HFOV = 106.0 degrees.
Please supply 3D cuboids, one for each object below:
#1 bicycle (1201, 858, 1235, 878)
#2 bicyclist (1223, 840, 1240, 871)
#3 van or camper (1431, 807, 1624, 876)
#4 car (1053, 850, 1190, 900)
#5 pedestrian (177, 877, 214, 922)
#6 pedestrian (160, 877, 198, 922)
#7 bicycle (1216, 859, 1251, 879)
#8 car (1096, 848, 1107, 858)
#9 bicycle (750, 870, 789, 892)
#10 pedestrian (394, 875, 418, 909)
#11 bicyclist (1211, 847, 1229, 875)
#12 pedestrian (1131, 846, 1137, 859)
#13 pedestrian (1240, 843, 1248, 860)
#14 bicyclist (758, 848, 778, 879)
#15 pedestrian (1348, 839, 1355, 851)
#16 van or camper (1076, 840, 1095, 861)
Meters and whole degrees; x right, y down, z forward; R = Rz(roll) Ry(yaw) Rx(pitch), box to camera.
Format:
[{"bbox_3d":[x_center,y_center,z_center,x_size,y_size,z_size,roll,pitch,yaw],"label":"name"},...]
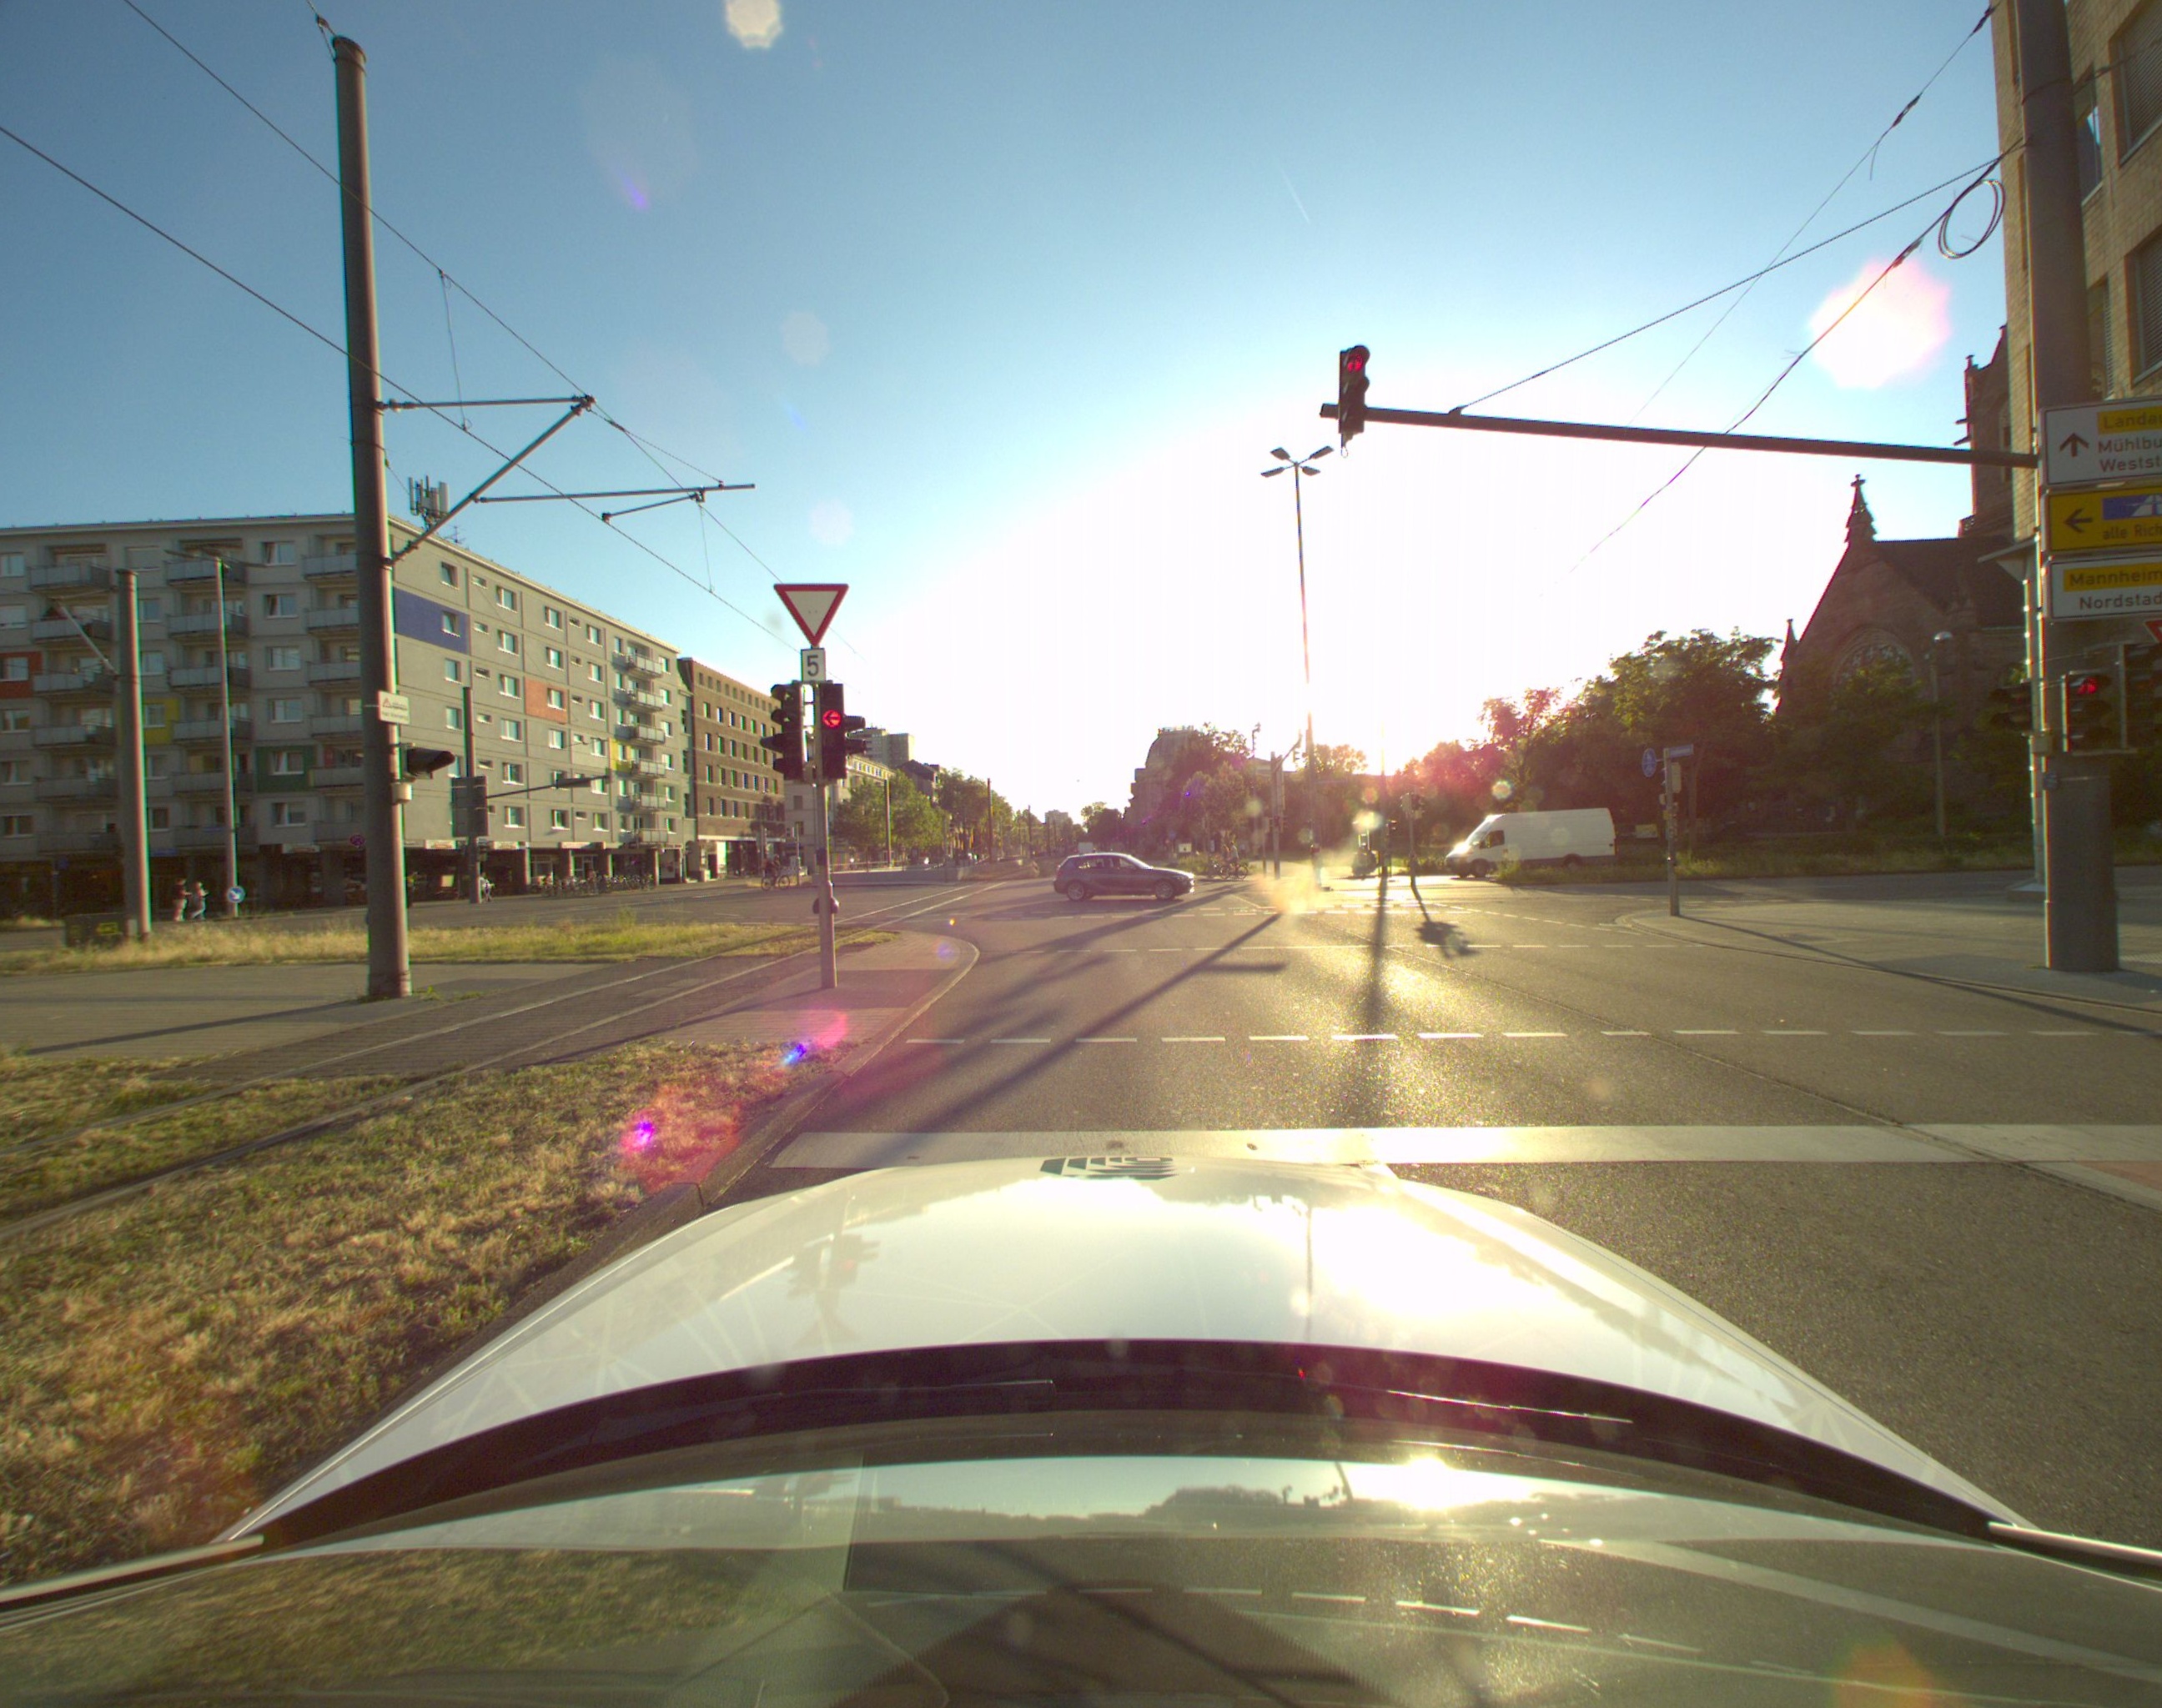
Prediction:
[{"bbox_3d":[7.290,0.730,43.373,1.711,0.970,0.610,-1,1,3],"label":"bicycle"},{"bbox_3d":[7.671,0.070,41.544,0.793,1.571,0.665,-2,1,8],"label":"bicyclist"},{"bbox_3d":[19.570,-0.560,35.968,7.013,2.674,2.601,-2,1,3],"label":"van or camper"},{"bbox_3d":[1.280,0.618,25.099,3.960,1.434,1.725,0,2,12],"label":"car"},{"bbox_3d":[-38.026,1.946,34.980,0.600,1.847,0.822,-2,1,1],"label":"pedestrian"},{"bbox_3d":[-38.883,1.945,35.124,0.702,1.851,0.737,-2,1,1],"label":"pedestrian"},{"bbox_3d":[7.781,0.752,41.545,1.719,0.970,0.611,-1,1,8],"label":"bicycle"},{"bbox_3d":[3.444,-0.169,133.438,1.731,1.385,4.002,-2,1,2],"label":"car"},{"bbox_3d":[-15.003,1.295,39.282,1.733,0.970,0.700,0,2,-19],"label":"bicycle"},{"bbox_3d":[-34.833,1.966,42.021,0.732,1.669,0.788,-1,2,42],"label":"pedestrian"},{"bbox_3d":[7.411,0.364,43.366,0.850,1.442,0.664,-2,1,3],"label":"bicyclist"},{"bbox_3d":[6.391,-0.182,98.263,0.613,1.475,0.801,-2,1,5],"label":"pedestrian"},{"bbox_3d":[15.646,-0.223,78.166,0.679,1.611,0.613,-2,1,1],"label":"pedestrian"},{"bbox_3d":[-15.075,0.463,39.227,0.855,1.442,0.659,-1,1,-18],"label":"bicyclist"},{"bbox_3d":[38.362,-1.272,115.450,0.791,1.701,0.804,-2,0,16],"label":"pedestrian"},{"bbox_3d":[0.659,-0.521,107.098,2.254,2.624,4.505,-2,1,2],"label":"van or camper"}]
